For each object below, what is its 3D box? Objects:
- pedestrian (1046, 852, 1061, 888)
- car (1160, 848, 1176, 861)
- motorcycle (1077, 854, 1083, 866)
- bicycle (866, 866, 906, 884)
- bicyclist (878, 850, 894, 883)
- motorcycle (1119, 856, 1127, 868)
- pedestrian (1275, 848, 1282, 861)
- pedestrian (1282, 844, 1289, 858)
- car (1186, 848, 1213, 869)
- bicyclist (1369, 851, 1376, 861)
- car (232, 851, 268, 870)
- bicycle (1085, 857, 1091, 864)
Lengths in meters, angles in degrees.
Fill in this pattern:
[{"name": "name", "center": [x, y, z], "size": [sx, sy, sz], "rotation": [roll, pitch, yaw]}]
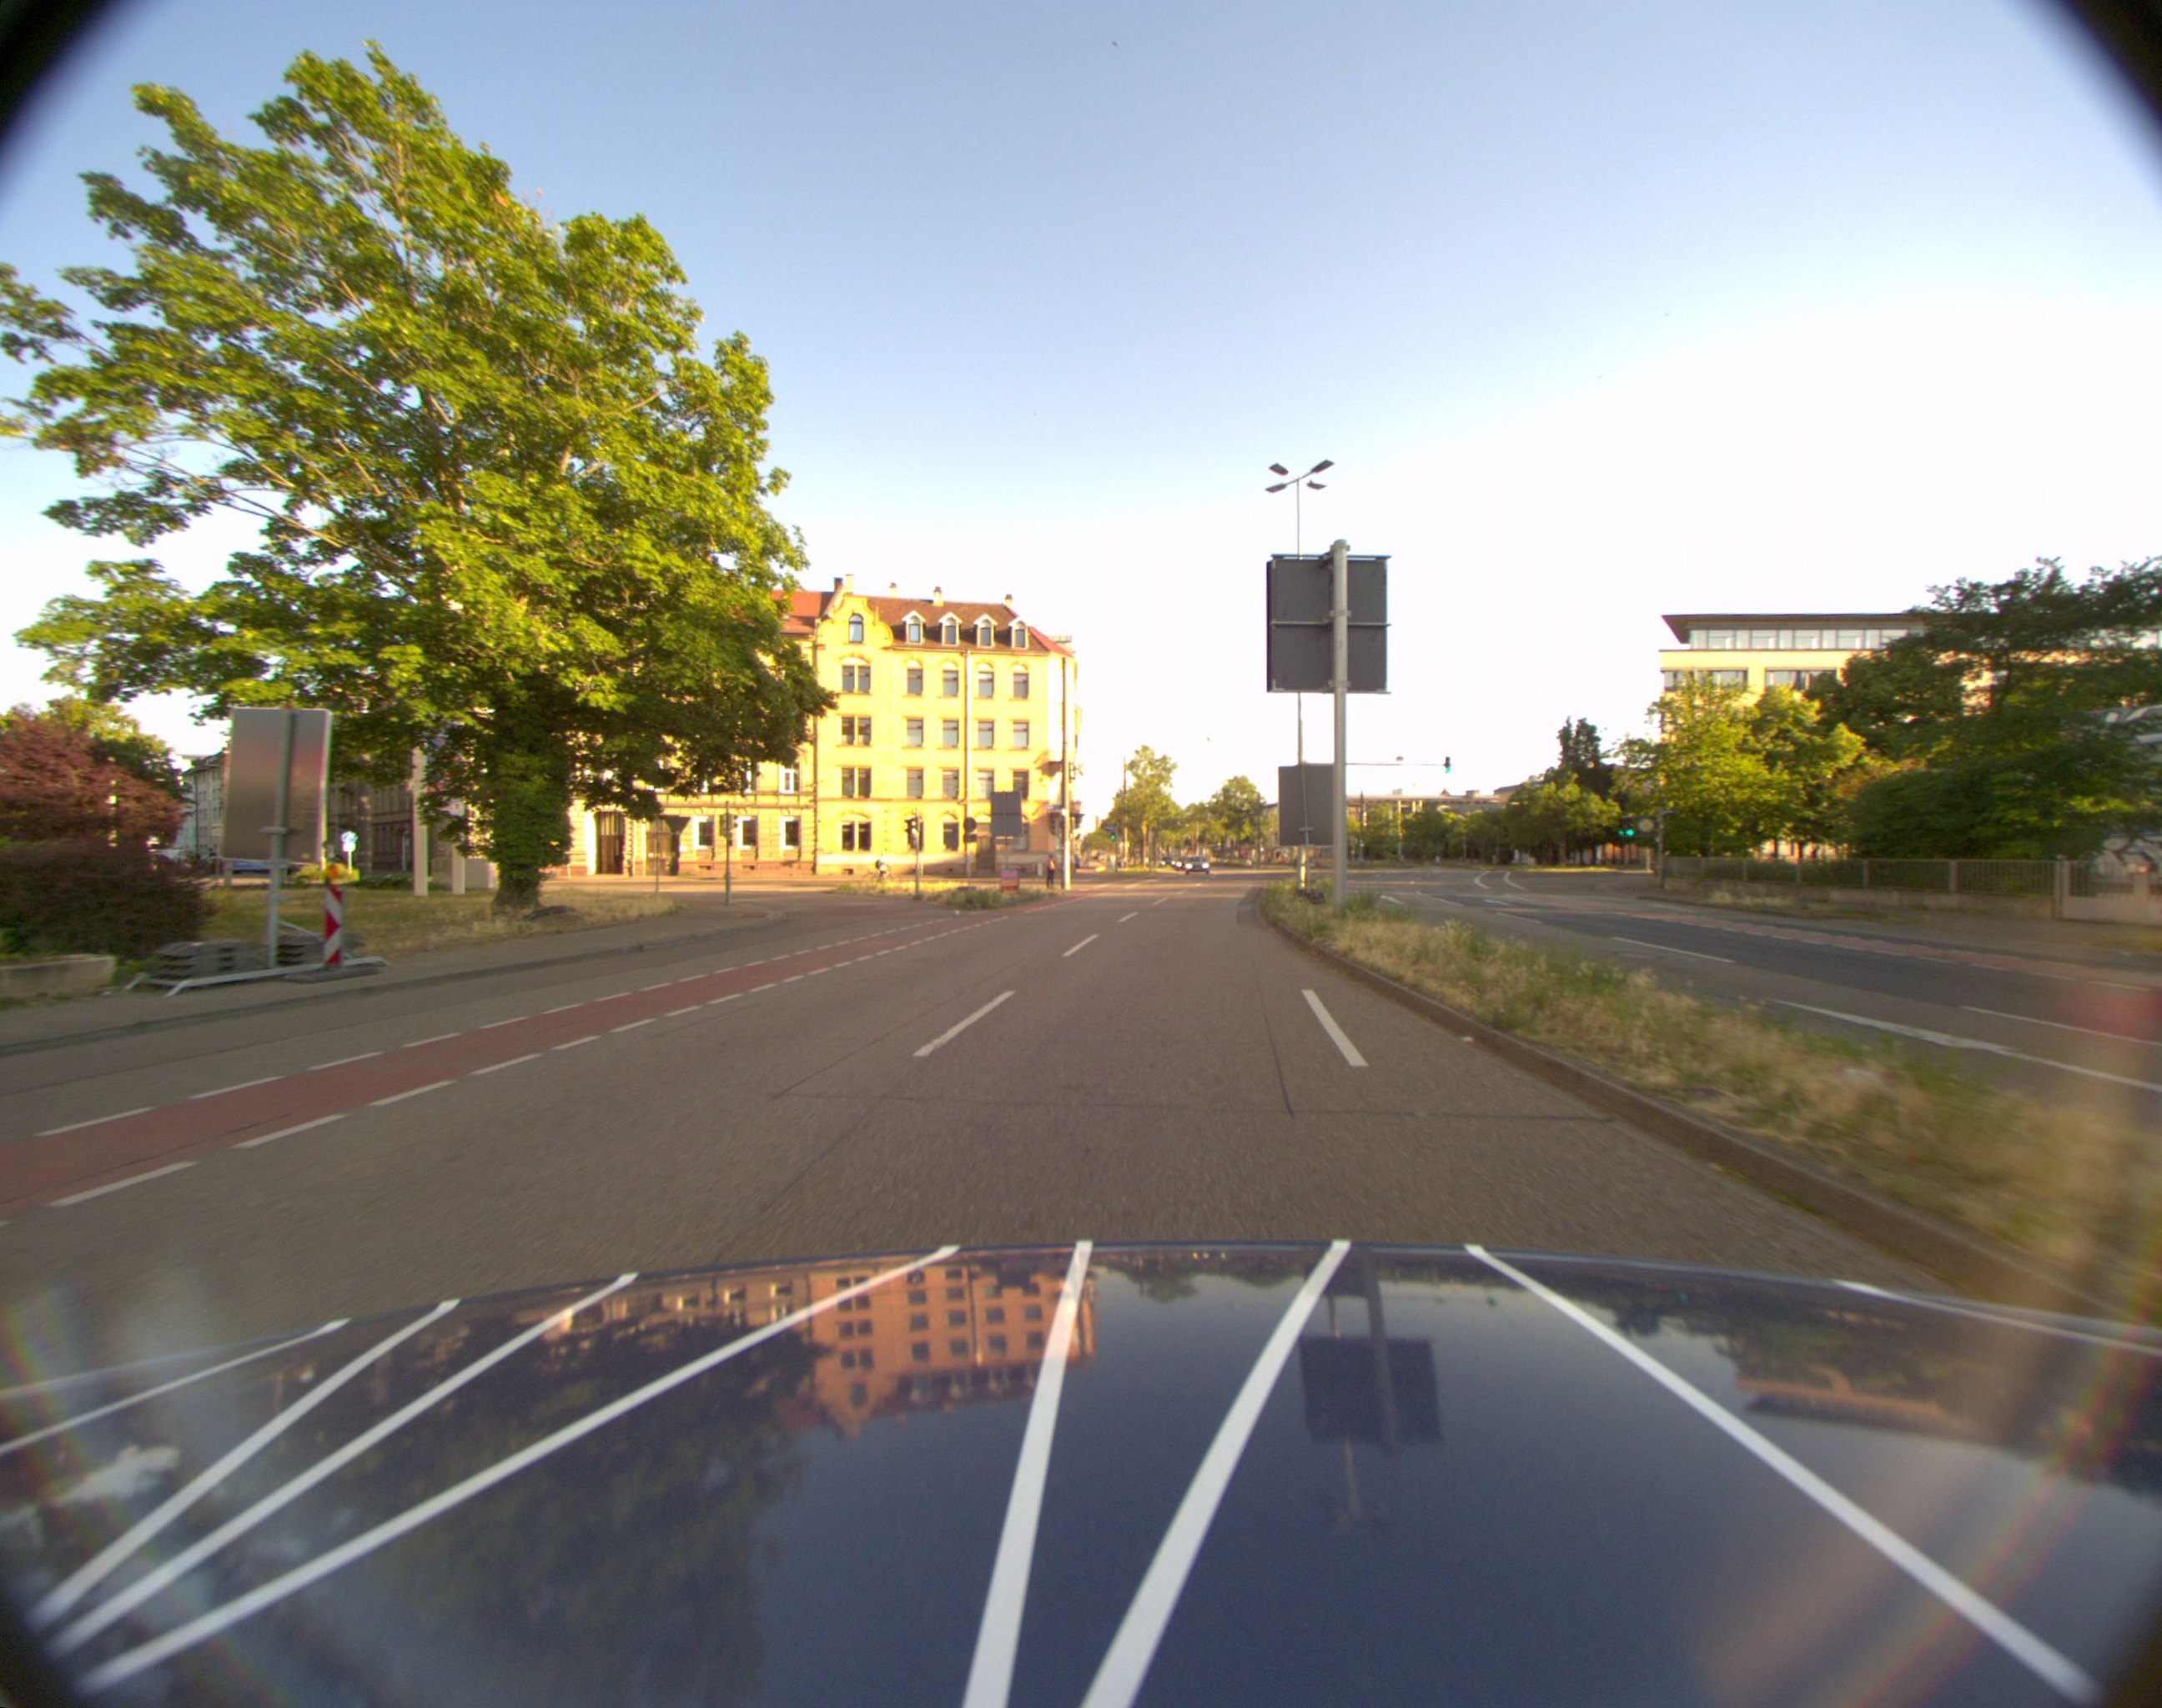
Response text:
[{"name": "pedestrian", "center": [-1.276, 0.735, 34.932], "size": [0.553, 1.619, 0.700], "rotation": [0, 1, 9]}, {"name": "car", "center": [11.268, 0.015, 98.592], "size": [1.997, 1.655, 4.002], "rotation": [0, 1, 7]}, {"name": "motorcycle", "center": [-0.074, 0.664, 80.307], "size": [0.555, 1.207, 2.072], "rotation": [-2, 1, -2]}, {"name": "bicycle", "center": [-9.378, 1.017, 36.623], "size": [1.815, 0.824, 0.622], "rotation": [0, 1, -9]}, {"name": "bicyclist", "center": [-9.387, 0.600, 36.593], "size": [0.696, 1.574, 0.637], "rotation": [0, 1, -9]}, {"name": "motorcycle", "center": [3.754, 0.735, 68.568], "size": [0.605, 1.038, 1.745], "rotation": [0, 0, 7]}, {"name": "pedestrian", "center": [28.776, 0.078, 110.808], "size": [0.771, 2.002, 1.127], "rotation": [0, 1, 2]}, {"name": "pedestrian", "center": [29.613, -0.483, 110.094], "size": [0.771, 2.002, 1.127], "rotation": [0, 1, 2]}, {"name": "car", "center": [9.389, 0.337, 60.404], "size": [1.997, 1.655, 4.002], "rotation": [0, 1, 7]}, {"name": "bicyclist", "center": [44.902, 0.310, 117.174], "size": [0.769, 1.459, 0.828], "rotation": [0, 1, 2]}, {"name": "car", "center": [-72.404, 0.549, 66.216], "size": [1.827, 1.608, 3.988], "rotation": [-1, 1, -44]}, {"name": "bicycle", "center": [1.046, 0.896, 109.525], "size": [0.874, 0.910, 2.084], "rotation": [1, 0, 1]}]
